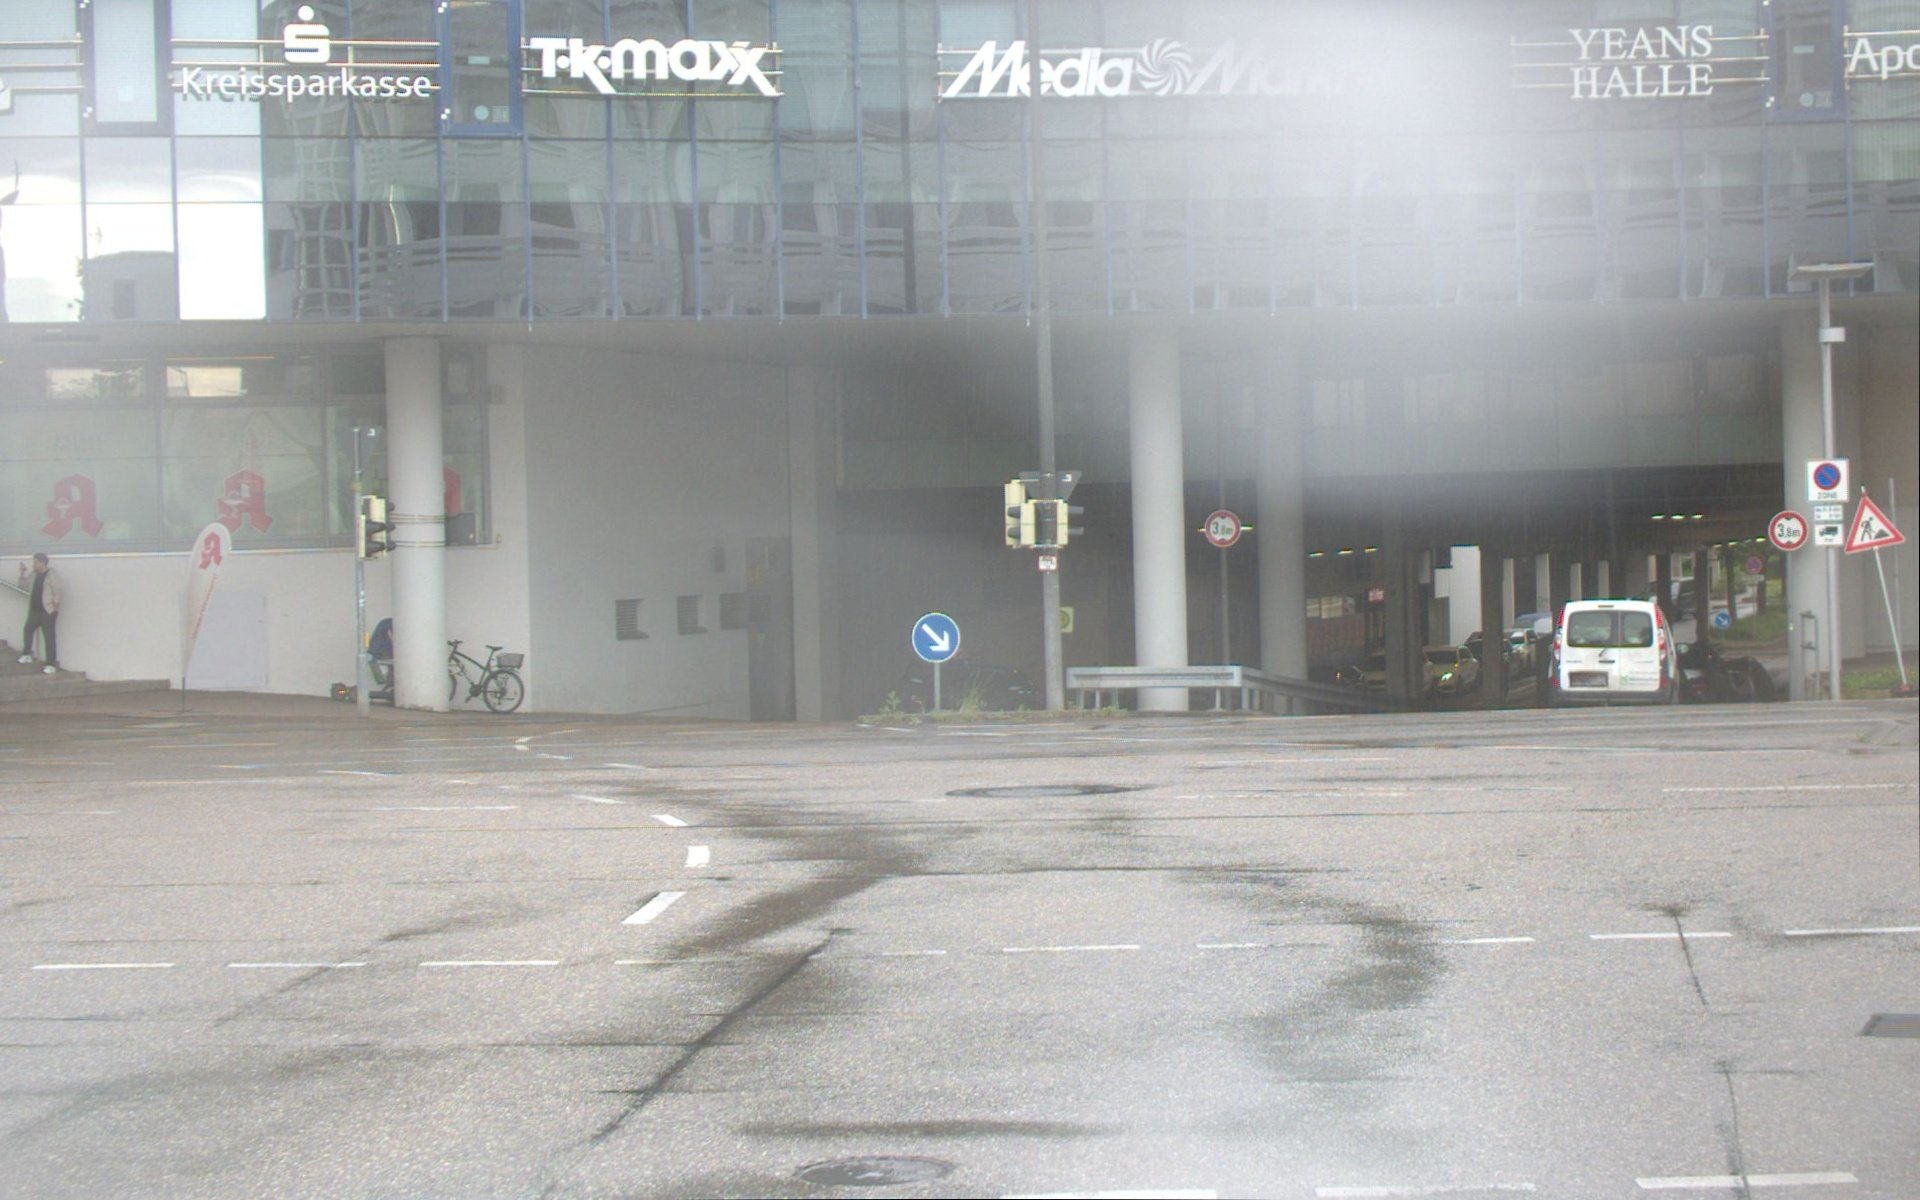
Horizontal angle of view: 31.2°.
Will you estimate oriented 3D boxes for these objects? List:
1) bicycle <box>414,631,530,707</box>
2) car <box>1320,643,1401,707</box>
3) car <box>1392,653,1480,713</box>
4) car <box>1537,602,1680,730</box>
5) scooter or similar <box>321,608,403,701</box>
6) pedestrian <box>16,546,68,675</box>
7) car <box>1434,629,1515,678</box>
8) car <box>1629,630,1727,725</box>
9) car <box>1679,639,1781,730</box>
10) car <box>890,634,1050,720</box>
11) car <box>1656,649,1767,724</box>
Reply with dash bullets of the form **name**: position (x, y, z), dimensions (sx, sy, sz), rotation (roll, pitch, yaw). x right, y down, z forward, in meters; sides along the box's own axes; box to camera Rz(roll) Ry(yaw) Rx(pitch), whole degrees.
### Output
- **bicycle**: position (-7.366, 1.046, 51.915), dimensions (1.581, 1.014, 0.452), rotation (6, -2, -28)
- **car**: position (11.500, 2.136, 98.618), dimensions (1.837, 1.722, 3.998), rotation (-1, 0, 13)
- **car**: position (14.459, 2.489, 104.301), dimensions (1.995, 1.658, 3.997), rotation (1, 1, 17)
- **car**: position (9.692, 0.972, 51.187), dimensions (1.927, 1.791, 4.294), rotation (-1, -1, 13)
- **scooter or similar**: position (-8.950, 0.816, 51.465), dimensions (1.166, 1.368, 0.489), rotation (1, 0, -13)
- **pedestrian**: position (-13.520, 0.150, 50.655), dimensions (0.655, 1.902, 0.595), rotation (0, 0, -5)
- **car**: position (16.754, 1.722, 111.856), dimensions (1.995, 1.459, 3.997), rotation (-1, 0, 17)
- **car**: position (13.279, 1.465, 63.484), dimensions (1.634, 1.606, 4.259), rotation (-2, -3, 12)
- **car**: position (16.299, 1.762, 72.679), dimensions (1.793, 1.764, 3.997), rotation (-1, 0, 17)
- **car**: position (0.236, 1.492, 65.540), dimensions (1.894, 1.465, 4.023), rotation (-1, -4, 18)
- **car**: position (14.972, 1.743, 68.355), dimensions (1.781, 1.395, 3.996), rotation (-1, -3, 17)
